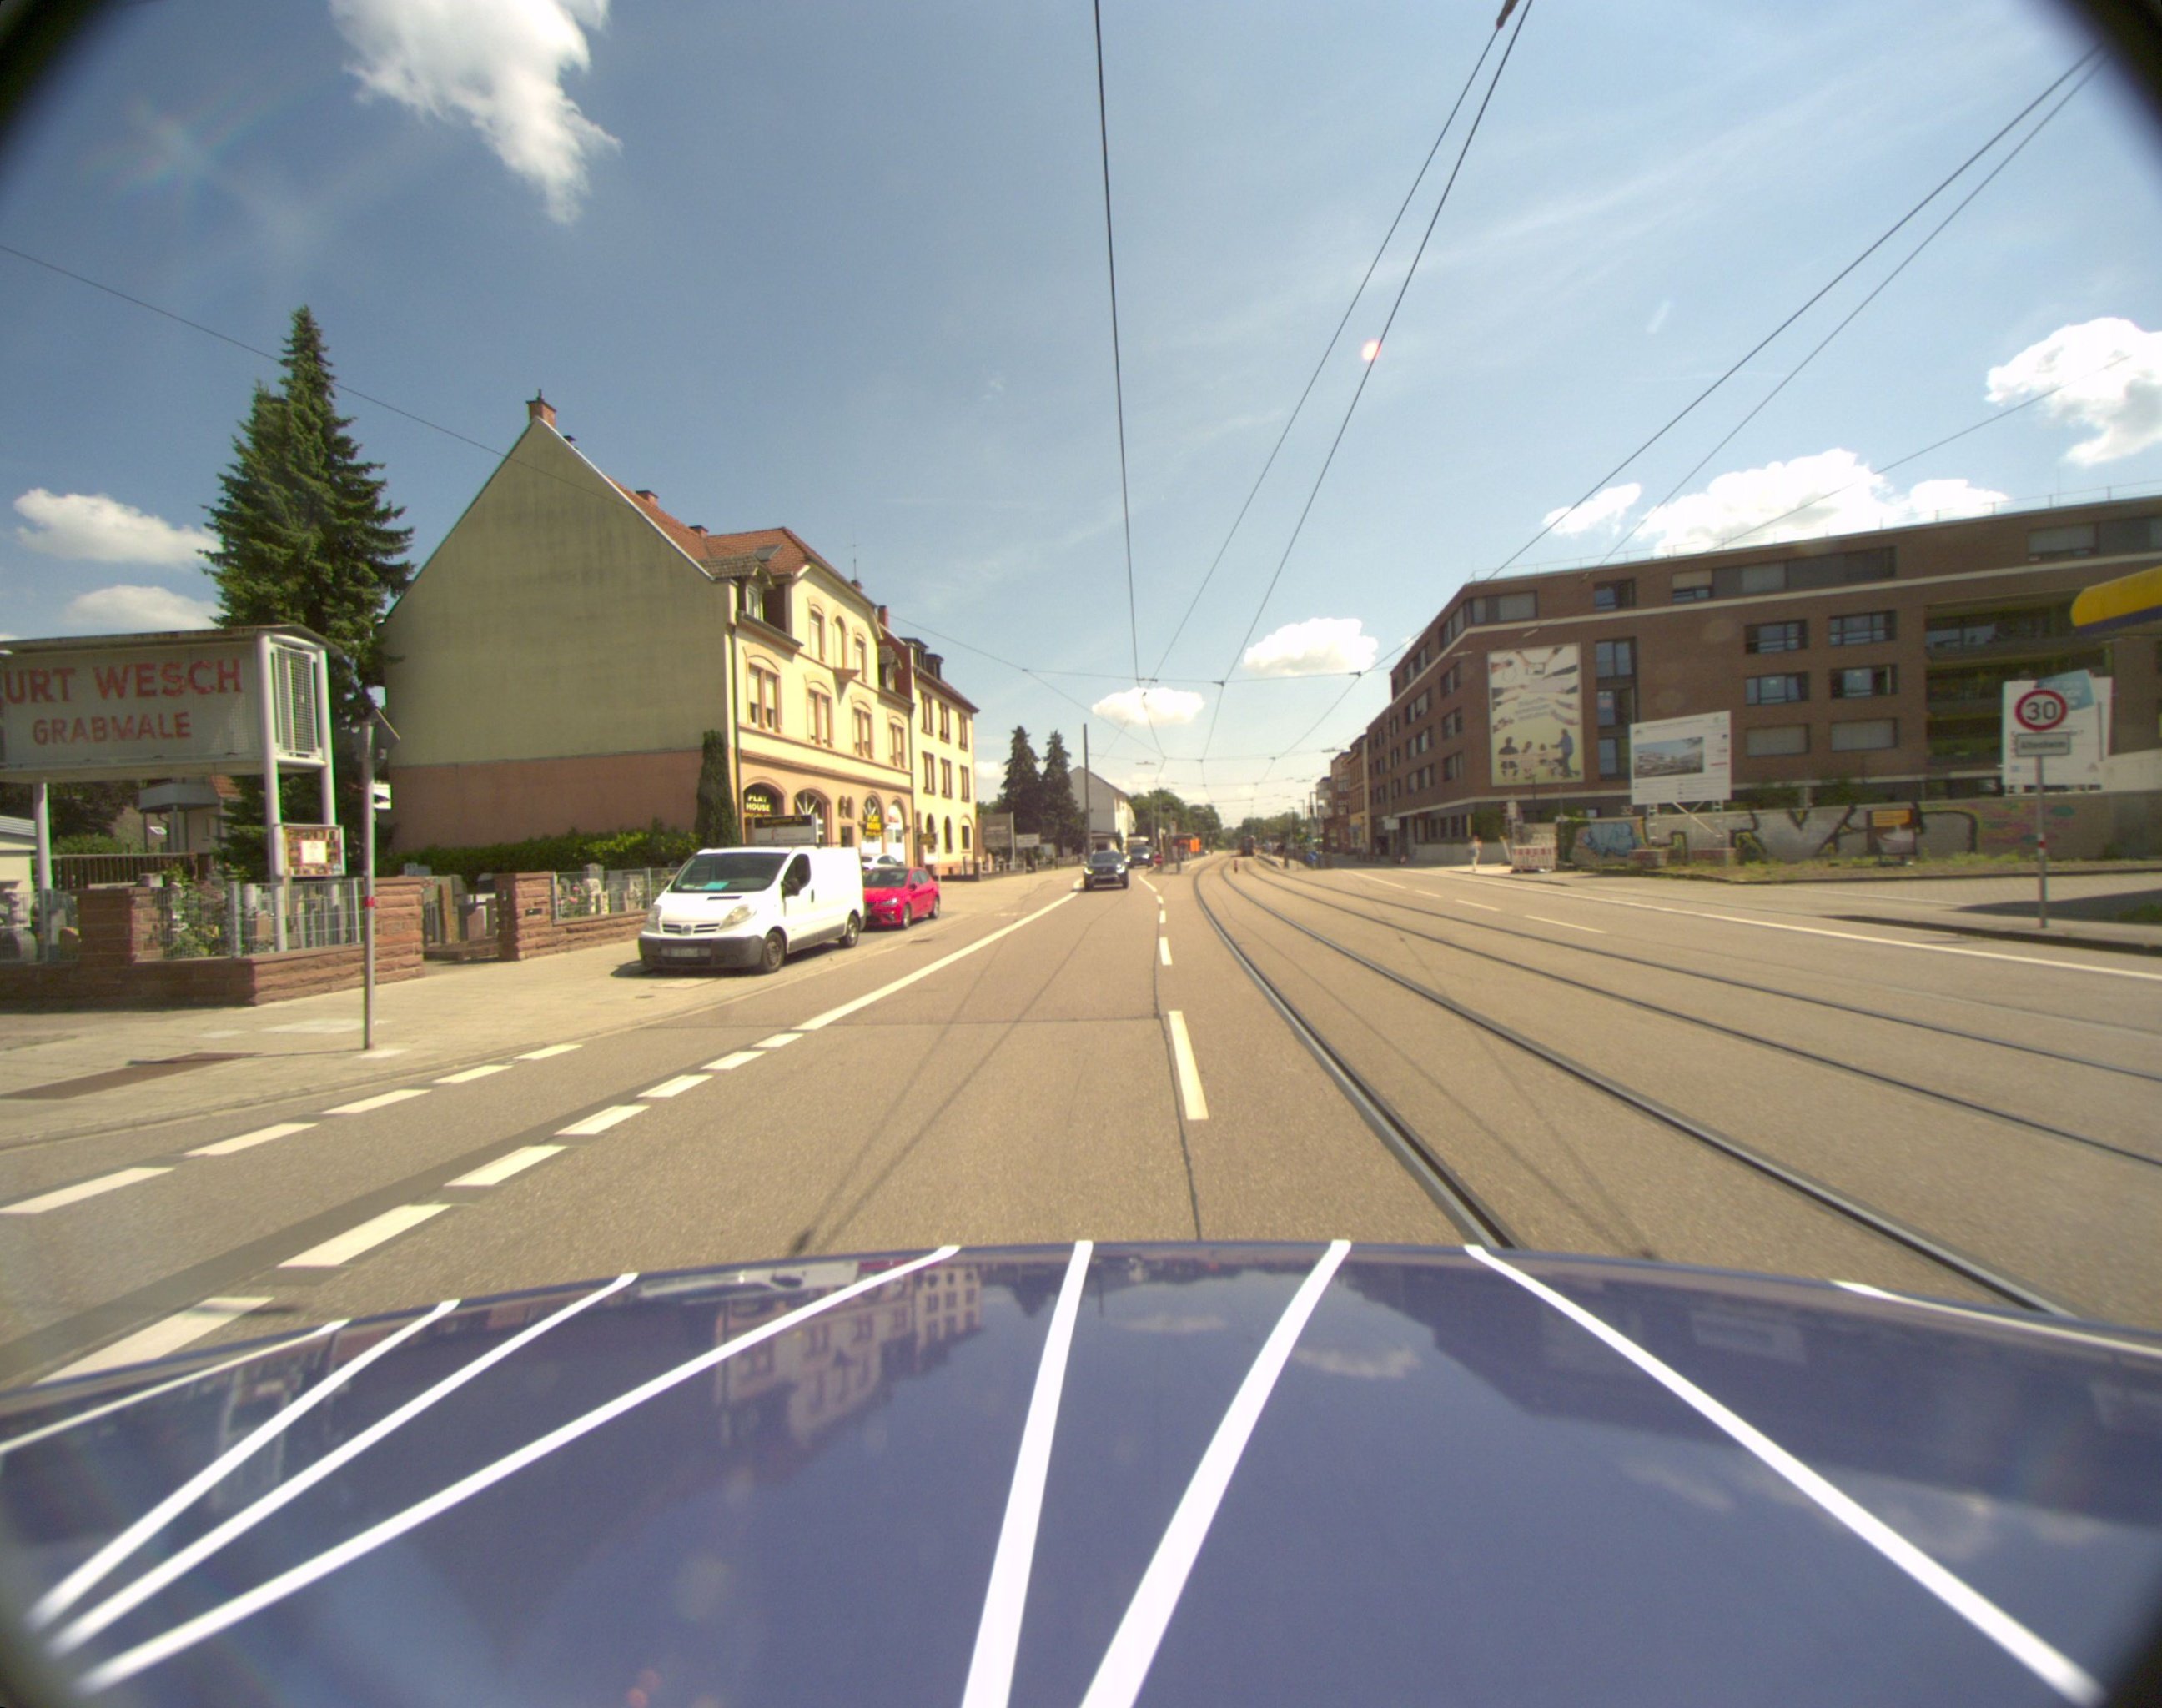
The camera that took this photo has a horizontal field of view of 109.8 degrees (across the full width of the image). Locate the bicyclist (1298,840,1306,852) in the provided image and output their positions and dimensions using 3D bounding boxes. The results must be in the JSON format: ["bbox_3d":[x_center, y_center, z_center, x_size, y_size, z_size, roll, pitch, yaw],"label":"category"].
[{"bbox_3d":[28.364,-0.971,97.586,0.760,1.495,1.066,-2,1,6],"label":"bicyclist"}]

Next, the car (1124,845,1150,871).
[{"bbox_3d":[4.706,0.298,63.366,1.998,2.002,4.001,-2,1,6],"label":"car"}]

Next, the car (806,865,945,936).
[{"bbox_3d":[-4.967,1.074,19.006,1.998,1.433,4.018,-3,0,5],"label":"car"}]

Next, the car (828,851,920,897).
[{"bbox_3d":[-8.078,0.717,30.101,1.881,1.615,4.641,1,1,7],"label":"car"}]

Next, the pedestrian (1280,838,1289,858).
[{"bbox_3d":[17.738,-0.505,66.280,0.686,1.750,1.034,-1,1,11],"label":"pedestrian"}]

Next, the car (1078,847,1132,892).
[{"bbox_3d":[1.082,0.604,31.981,1.845,1.565,4.488,-2,2,6],"label":"car"}]

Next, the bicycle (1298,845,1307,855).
[{"bbox_3d":[28.441,-0.553,97.620,0.818,1.215,2.390,-1,0,8],"label":"bicycle"}]

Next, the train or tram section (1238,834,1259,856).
[{"bbox_3d":[28.931,-1.602,131.755,3.240,3.546,16.362,-2,1,12],"label":"train or tram section"}]

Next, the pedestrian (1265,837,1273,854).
[{"bbox_3d":[20.410,-0.920,82.461,0.761,1.789,0.952,-1,1,11],"label":"pedestrian"}]

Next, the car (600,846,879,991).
[{"bbox_3d":[-5.434,0.872,13.202,1.998,1.980,5.516,0,0,4],"label":"car"}]

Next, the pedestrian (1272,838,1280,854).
[{"bbox_3d":[21.063,-0.888,81.891,0.761,1.685,0.809,-1,1,11],"label":"pedestrian"}]

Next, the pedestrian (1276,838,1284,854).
[{"bbox_3d":[19.864,-0.799,75.781,0.686,1.587,0.762,-1,1,11],"label":"pedestrian"}]

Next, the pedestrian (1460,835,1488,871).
[{"bbox_3d":[18.321,-0.037,35.433,0.761,1.586,1.000,-6,0,7],"label":"pedestrian"}]

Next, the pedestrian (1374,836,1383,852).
[{"bbox_3d":[29.443,-0.966,75.137,0.686,1.587,0.762,-1,1,11],"label":"pedestrian"}]

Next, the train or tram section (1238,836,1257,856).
[{"bbox_3d":[32.733,-1.715,149.856,3.256,3.546,20.516,-2,1,12],"label":"train or tram section"}]
